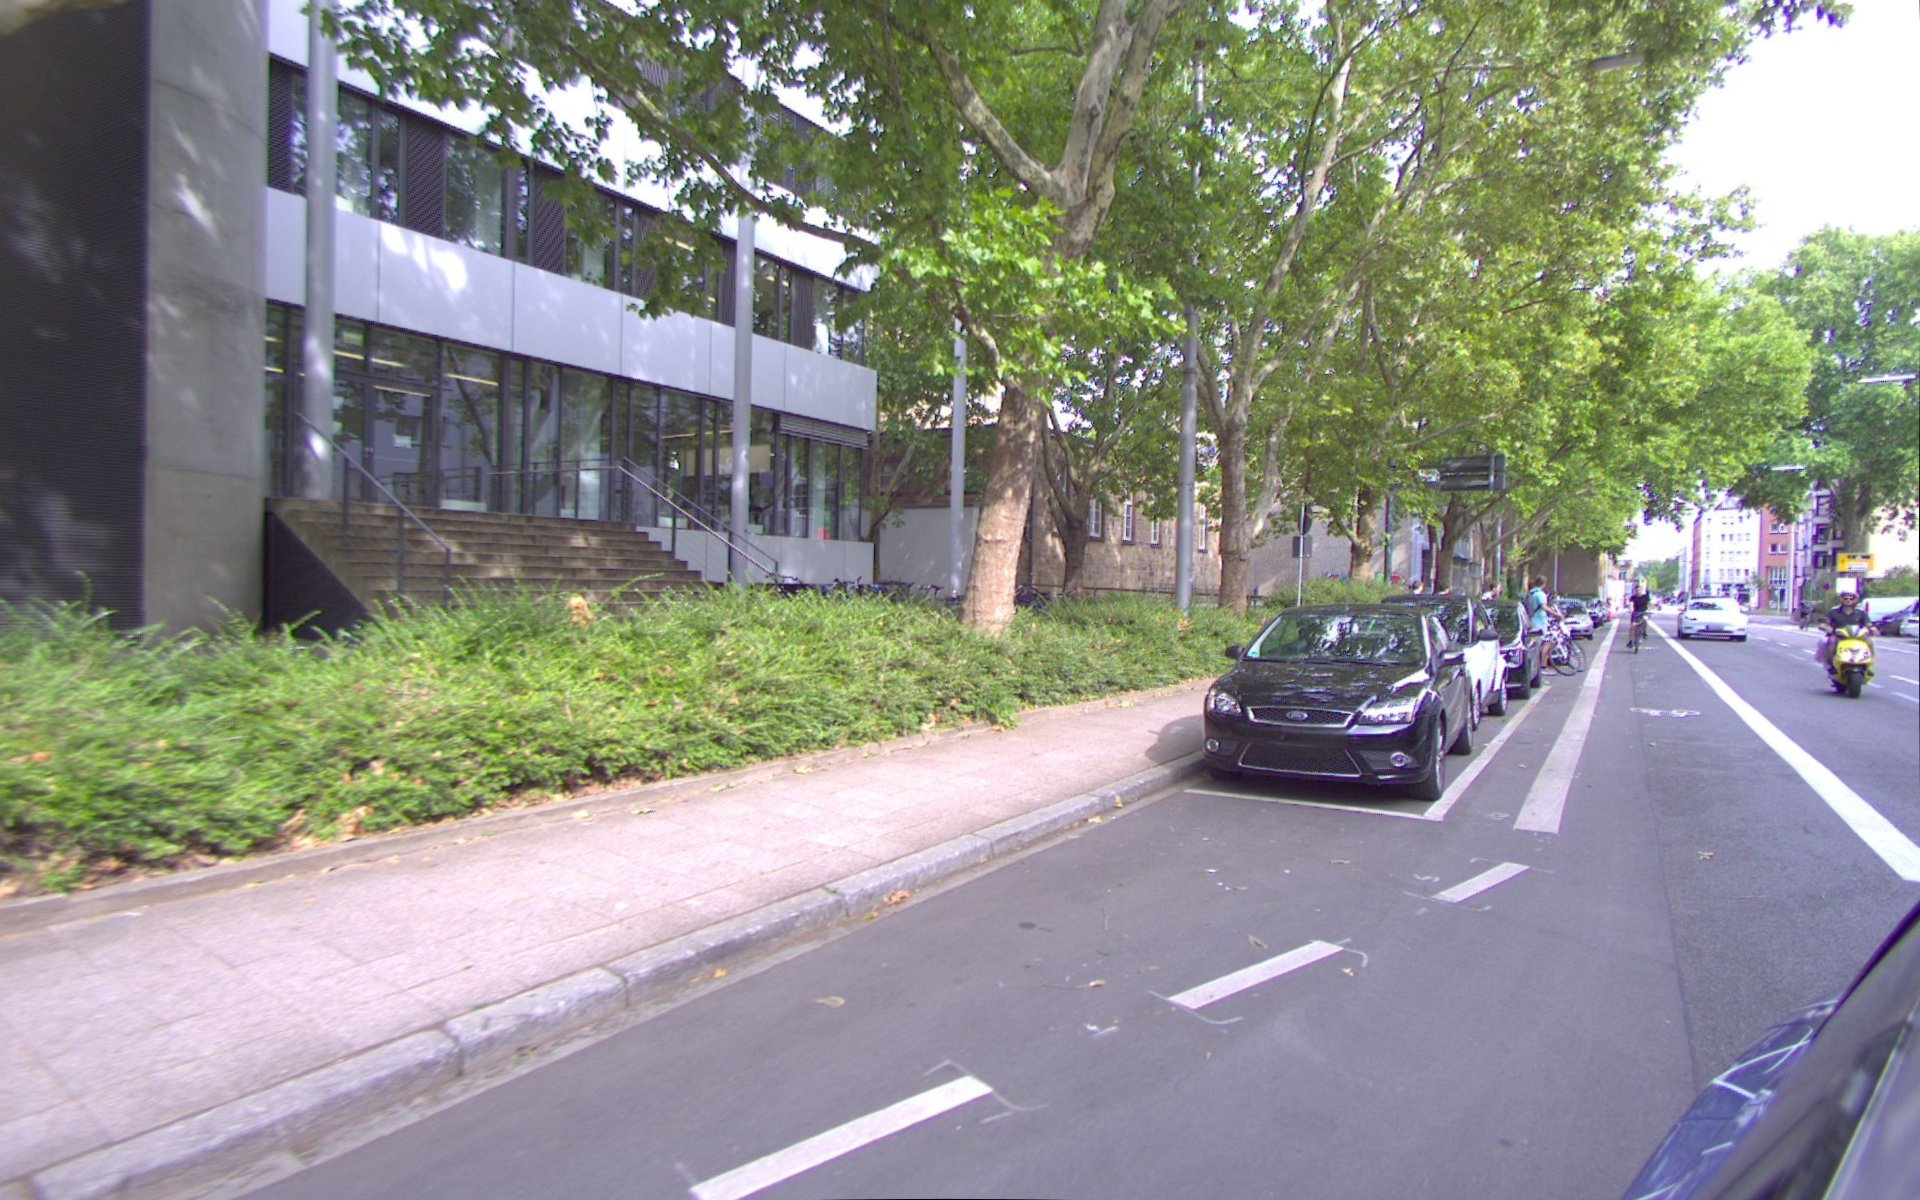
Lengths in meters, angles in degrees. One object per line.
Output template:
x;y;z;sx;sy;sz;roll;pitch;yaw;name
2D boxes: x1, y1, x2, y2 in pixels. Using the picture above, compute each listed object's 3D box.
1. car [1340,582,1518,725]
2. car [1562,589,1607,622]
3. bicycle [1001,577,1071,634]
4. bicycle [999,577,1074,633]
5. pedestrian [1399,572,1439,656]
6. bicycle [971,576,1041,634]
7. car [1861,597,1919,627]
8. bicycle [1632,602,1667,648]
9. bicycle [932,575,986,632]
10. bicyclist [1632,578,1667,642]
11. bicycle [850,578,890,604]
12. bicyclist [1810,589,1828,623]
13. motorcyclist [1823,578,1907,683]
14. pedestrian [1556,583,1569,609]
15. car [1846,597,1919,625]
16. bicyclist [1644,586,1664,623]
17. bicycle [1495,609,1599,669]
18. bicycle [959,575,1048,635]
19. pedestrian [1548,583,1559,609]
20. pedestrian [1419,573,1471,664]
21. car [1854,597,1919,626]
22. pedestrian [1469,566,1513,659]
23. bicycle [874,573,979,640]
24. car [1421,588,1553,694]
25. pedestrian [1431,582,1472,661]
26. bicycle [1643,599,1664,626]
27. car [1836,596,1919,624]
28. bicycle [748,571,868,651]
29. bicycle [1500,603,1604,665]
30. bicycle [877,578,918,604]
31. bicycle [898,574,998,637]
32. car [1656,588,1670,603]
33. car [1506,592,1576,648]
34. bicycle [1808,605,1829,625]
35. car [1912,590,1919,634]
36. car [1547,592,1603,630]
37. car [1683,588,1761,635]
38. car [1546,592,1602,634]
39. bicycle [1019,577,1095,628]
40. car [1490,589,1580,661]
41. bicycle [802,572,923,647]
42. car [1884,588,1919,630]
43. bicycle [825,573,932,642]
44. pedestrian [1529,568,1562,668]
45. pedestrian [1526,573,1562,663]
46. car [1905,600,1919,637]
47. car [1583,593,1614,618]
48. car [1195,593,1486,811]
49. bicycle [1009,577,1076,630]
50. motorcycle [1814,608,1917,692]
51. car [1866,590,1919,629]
5.885;0.575;12.583;1.531;1.563;2.565;0;0;37;car
32.760;0.256;53.109;1.912;1.642;4.429;0;0;32;car
1.610;0.097;21.505;1.370;1.131;0.464;3;1;28;bicycle
1.664;0.086;22.003;1.529;1.131;0.464;3;1;28;bicycle
10.449;0.299;23.045;0.718;1.878;0.695;0;0;34;pedestrian
0.964;0.086;21.223;1.365;1.131;0.508;3;1;20;bicycle
48.931;0.616;51.261;4.690;1.488;1.850;-1;-1;36;car
18.761;0.656;27.547;0.759;1.183;1.925;1;0;34;bicycle
-0.001;0.064;21.346;0.488;1.131;1.423;3;2;28;bicycle
18.793;0.260;27.590;0.760;1.730;0.906;1;0;34;bicyclist
-3.323;-0.331;37.537;0.476;0.889;1.602;2;3;40;bicycle
47.162;0.302;55.572;0.649;1.833;1.033;1;1;34;bicyclist
14.697;0.473;16.466;0.899;1.637;0.683;2;1;35;motorcyclist
41.611;-0.278;69.911;0.588;1.806;0.470;6;4;33;pedestrian
52.636;0.612;56.649;4.348;1.569;1.710;-1;-1;36;car
31.072;0.192;45.319;0.744;1.619;0.809;1;0;35;bicyclist
11.596;0.763;20.036;1.721;1.119;0.548;0;0;24;bicycle
0.886;0.094;20.580;1.676;1.131;0.620;3;1;16;bicycle
41.426;-0.288;70.656;0.499;1.806;0.521;6;3;33;pedestrian
10.139;0.372;21.147;0.868;1.839;0.770;0;0;34;pedestrian
51.465;0.635;54.904;4.252;1.530;1.697;-1;-1;36;car
11.812;0.268;22.496;0.790;2.022;0.741;0;0;34;pedestrian
-0.635;0.103;18.840;1.909;1.131;0.665;3;2;35;bicycle
8.636;0.572;16.459;1.523;1.521;3.615;0;0;34;car
10.580;0.447;21.776;0.718;1.679;0.647;0;0;34;pedestrian
31.056;0.549;45.319;0.759;1.183;1.925;1;0;34;bicycle
53.835;0.585;58.600;4.504;1.626;1.731;-1;-1;36;car
-2.422;0.151;15.990;1.909;1.131;0.665;3;2;35;bicycle
12.296;0.691;21.056;1.771;1.232;0.550;0;0;18;bicycle
-2.296;-0.333;37.296;1.617;0.889;0.501;2;3;39;bicycle
-0.257;0.084;19.887;1.909;1.131;0.665;3;2;35;bicycle
128.293;-0.862;184.616;1.987;2.593;4.739;1;1;34;car
16.420;0.513;28.528;1.580;1.468;3.763;-1;0;32;car
47.202;0.816;55.642;0.643;1.027;2.052;1;1;33;bicycle
42.385;0.475;41.769;4.197;1.871;1.900;-1;-1;35;car
25.325;0.414;41.642;1.748;1.465;4.166;0;0;34;car
28.084;0.371;37.424;1.988;1.585;4.496;1;1;34;car
22.860;0.457;37.783;1.634;1.465;3.842;0;0;29;car
2.305;0.049;24.092;1.664;1.131;0.598;3;2;29;bicycle
13.629;0.531;23.875;1.672;1.535;4.493;-1;0;31;car
-1.672;0.133;17.076;2.072;1.131;0.665;3;2;35;bicycle
46.408;0.417;47.117;4.752;1.959;1.968;-1;-1;36;car
-1.477;0.112;18.196;1.909;1.131;0.665;3;2;35;bicycle
11.710;0.339;20.260;0.471;1.959;0.739;0;0;23;pedestrian
12.329;0.365;21.362;0.515;1.868;0.740;0;0;19;pedestrian
40.389;0.699;39.913;4.257;1.469;1.850;-1;-1;35;car
41.270;0.341;65.358;1.593;1.524;4.386;0;0;34;car
3.617;0.668;9.075;1.689;1.443;4.373;0;0;31;car
1.874;0.063;23.160;1.439;1.131;0.463;3;2;32;bicycle
14.743;0.764;16.555;0.899;1.212;2.598;2;1;34;motorcycle
47.433;0.450;49.373;4.601;1.883;1.925;-1;-1;36;car
